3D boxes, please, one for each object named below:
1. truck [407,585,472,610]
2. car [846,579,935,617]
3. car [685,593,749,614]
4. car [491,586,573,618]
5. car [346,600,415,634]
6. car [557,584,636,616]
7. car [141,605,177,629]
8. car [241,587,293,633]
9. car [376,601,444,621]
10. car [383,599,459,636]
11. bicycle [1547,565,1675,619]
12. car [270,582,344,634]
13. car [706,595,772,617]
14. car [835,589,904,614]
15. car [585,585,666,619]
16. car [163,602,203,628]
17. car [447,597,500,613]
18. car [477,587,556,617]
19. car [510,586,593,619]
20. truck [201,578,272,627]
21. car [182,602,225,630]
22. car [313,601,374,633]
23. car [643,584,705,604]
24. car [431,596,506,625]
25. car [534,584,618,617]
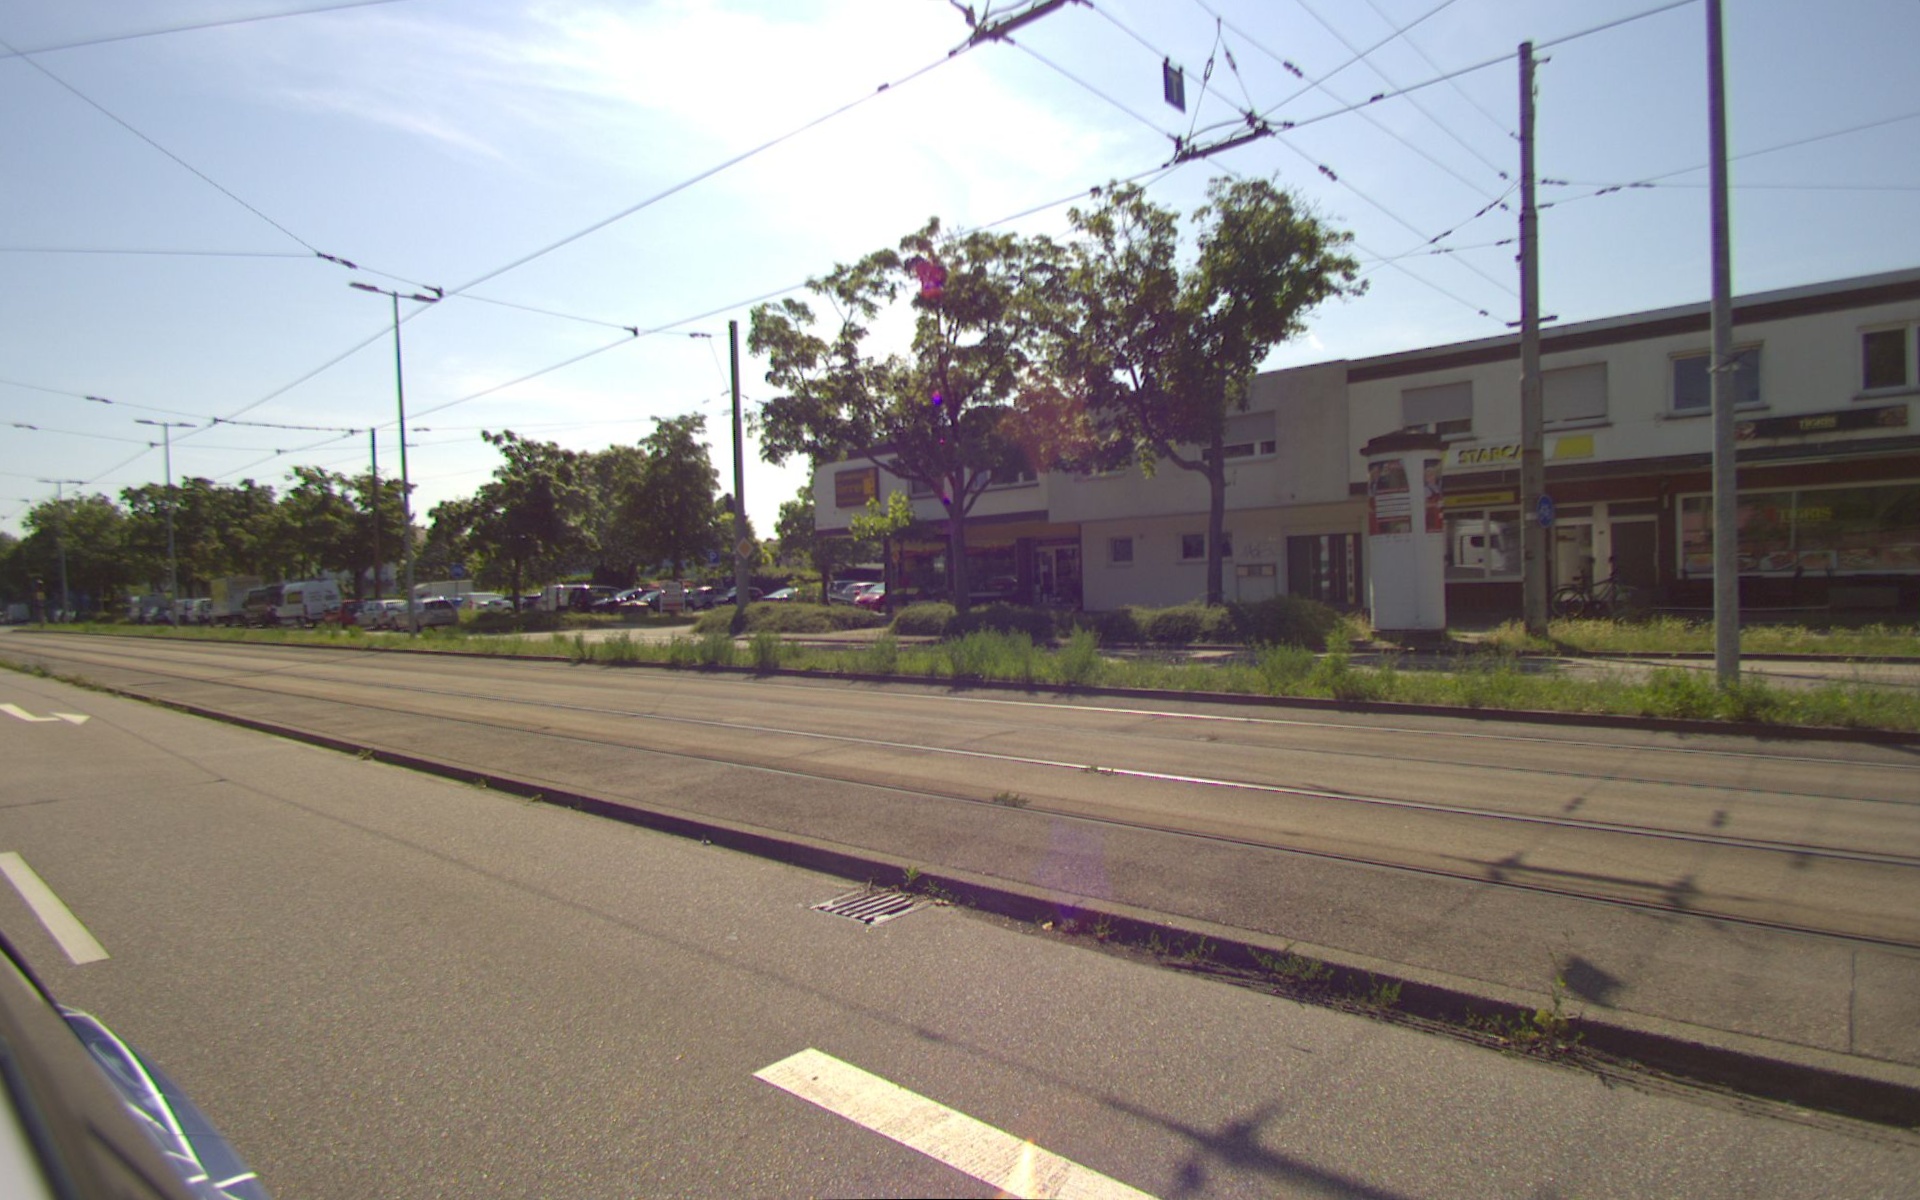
[{"bbox_3d":[-52.945,-0.291,103.087,1.988,2.398,5.584,-1,1,38],"label":"truck"},{"bbox_3d":[-3.239,-0.116,47.986,1.676,1.616,4.197,-1,1,42],"label":"car"},{"bbox_3d":[-17.131,0.250,71.498,1.676,1.345,4.197,-1,1,42],"label":"car"},{"bbox_3d":[-25.898,0.111,61.346,1.988,1.751,4.068,-1,1,38],"label":"car"},{"bbox_3d":[-29.270,0.861,51.068,4.255,1.544,1.654,-1,4,41],"label":"car"},{"bbox_3d":[-20.242,-0.003,56.483,1.676,1.646,3.761,-1,1,42],"label":"car"},{"bbox_3d":[-64.398,1.385,81.371,3.685,1.799,1.484,-1,4,40],"label":"car"},{"bbox_3d":[-42.174,0.625,61.558,4.005,2.643,1.483,-1,4,41],"label":"car"},{"bbox_3d":[-42.059,0.813,77.440,1.676,1.345,4.198,-1,1,41],"label":"car"},{"bbox_3d":[-25.209,0.830,47.282,4.255,1.544,1.654,-1,4,41],"label":"car"},{"bbox_3d":[14.692,-0.166,22.894,2.333,1.161,0.779,-1,-1,42],"label":"bicycle"},{"bbox_3d":[-37.245,0.473,57.656,5.201,2.673,2.036,-1,4,41],"label":"car"},{"bbox_3d":[-15.187,0.382,69.633,1.676,1.345,4.197,-1,1,42],"label":"car"},{"bbox_3d":[-5.488,0.078,61.769,1.676,1.345,4.197,-1,1,42],"label":"car"},{"bbox_3d":[-17.955,0.102,54.435,1.676,1.646,3.761,-1,1,42],"label":"car"},{"bbox_3d":[-59.744,1.151,77.826,4.056,1.859,1.484,-1,4,40],"label":"car"},{"bbox_3d":[-45.979,0.429,95.689,1.676,1.345,4.198,-1,1,41],"label":"car"},{"bbox_3d":[-28.017,0.112,64.004,1.988,1.751,4.068,-1,1,38],"label":"car"},{"bbox_3d":[-24.031,0.133,59.671,1.988,1.751,4.068,-1,1,38],"label":"car"},{"bbox_3d":[-48.333,0.166,67.557,5.902,2.956,2.476,-1,4,42],"label":"truck"},{"bbox_3d":[-54.724,1.154,73.159,4.631,1.817,1.483,-1,4,41],"label":"car"},{"bbox_3d":[-33.149,0.924,54.372,3.791,1.544,1.654,-1,4,41],"label":"car"},{"bbox_3d":[-21.077,-0.480,74.717,1.674,1.345,4.201,-1,1,39],"label":"car"},{"bbox_3d":[-33.291,0.709,68.423,5.739,1.825,2.560,-1,1,42],"label":"car"},{"bbox_3d":[-22.056,-0.002,58.190,1.988,1.751,4.068,-1,1,38],"label":"car"}]
